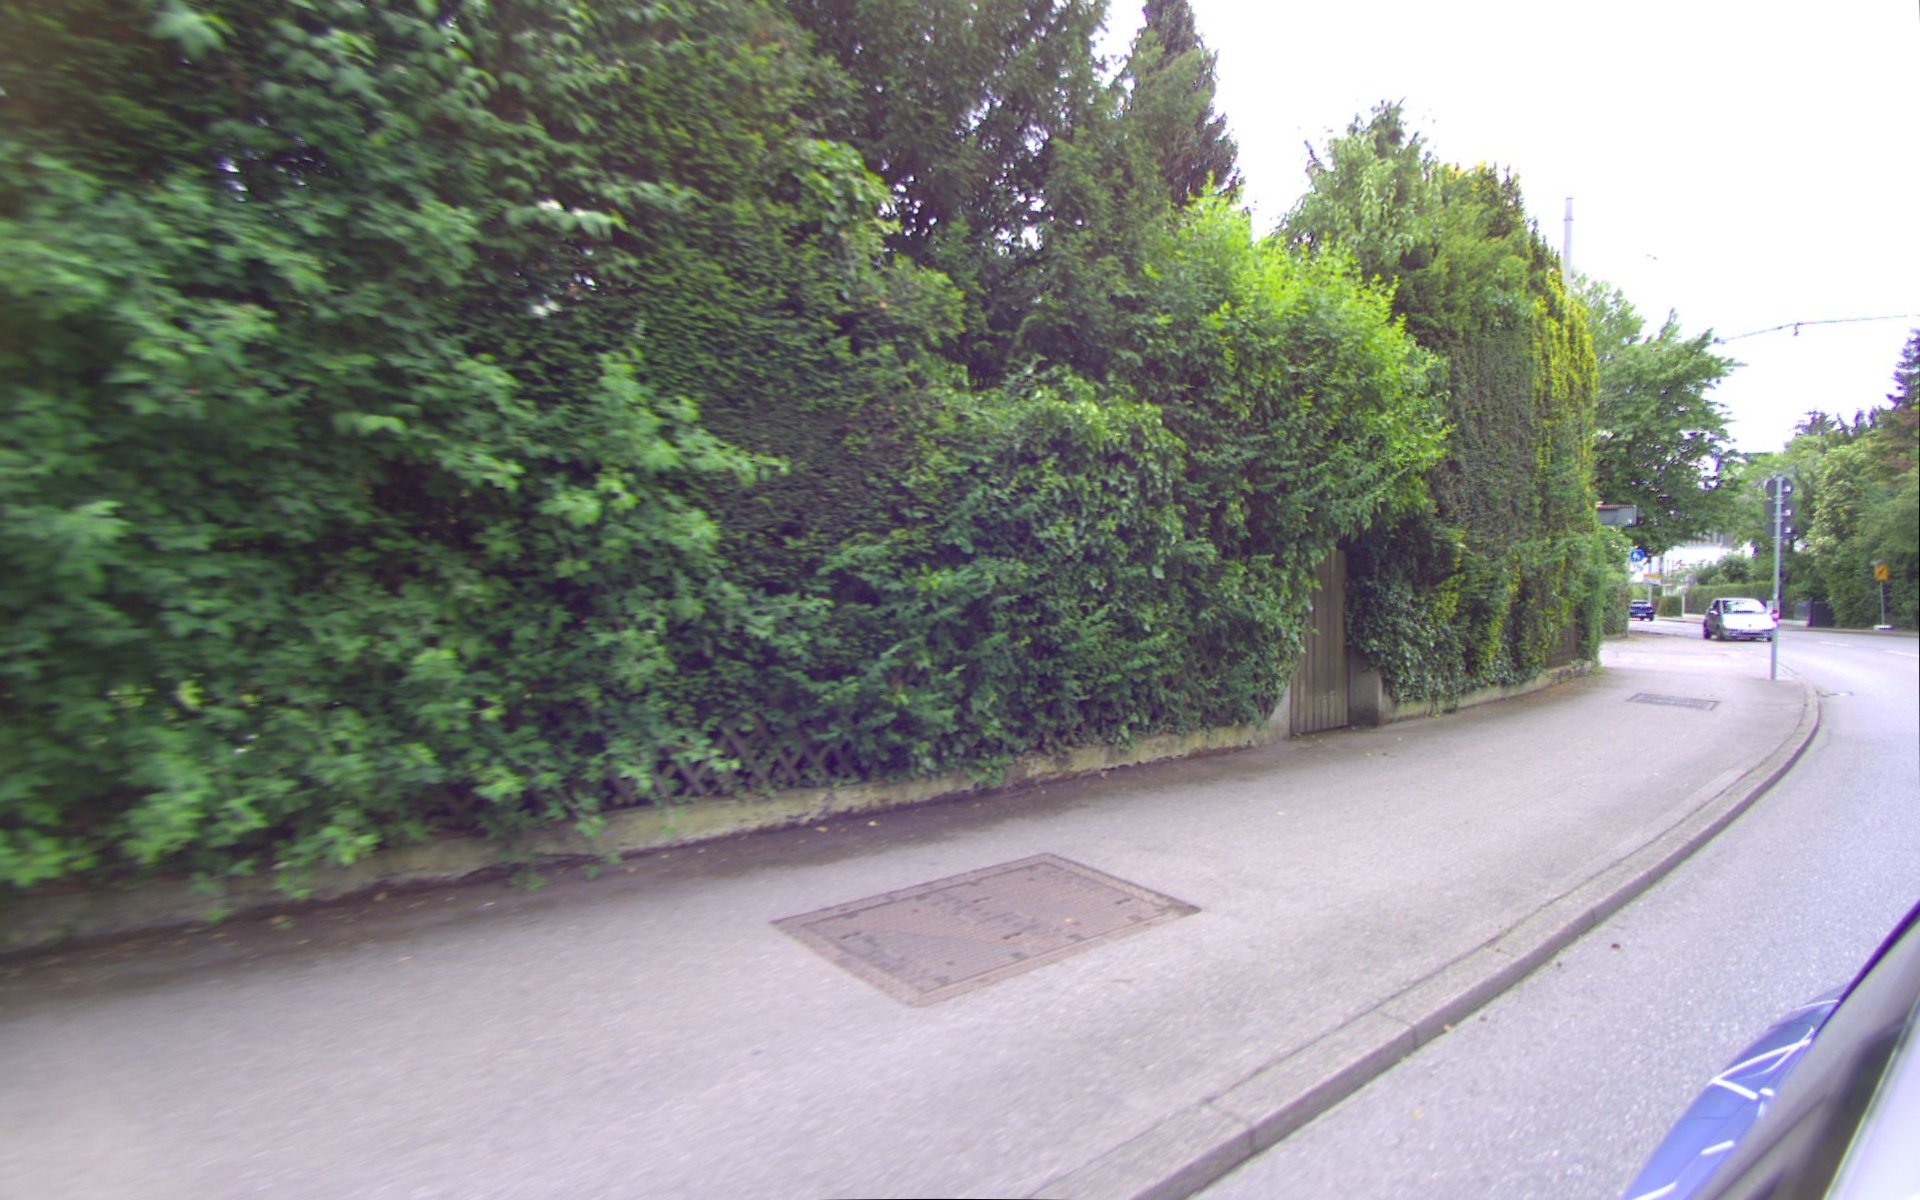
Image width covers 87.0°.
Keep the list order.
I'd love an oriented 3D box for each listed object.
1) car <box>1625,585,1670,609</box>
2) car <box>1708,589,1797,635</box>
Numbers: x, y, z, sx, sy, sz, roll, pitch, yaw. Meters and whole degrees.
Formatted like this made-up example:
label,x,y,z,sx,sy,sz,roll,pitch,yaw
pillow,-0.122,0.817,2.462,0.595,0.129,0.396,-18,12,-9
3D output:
label,x,y,z,sx,sy,sz,roll,pitch,yaw
car,47.821,-0.198,70.431,1.742,1.457,4.062,-4,0,23
car,29.575,0.390,37.897,1.982,1.616,3.959,0,1,29
